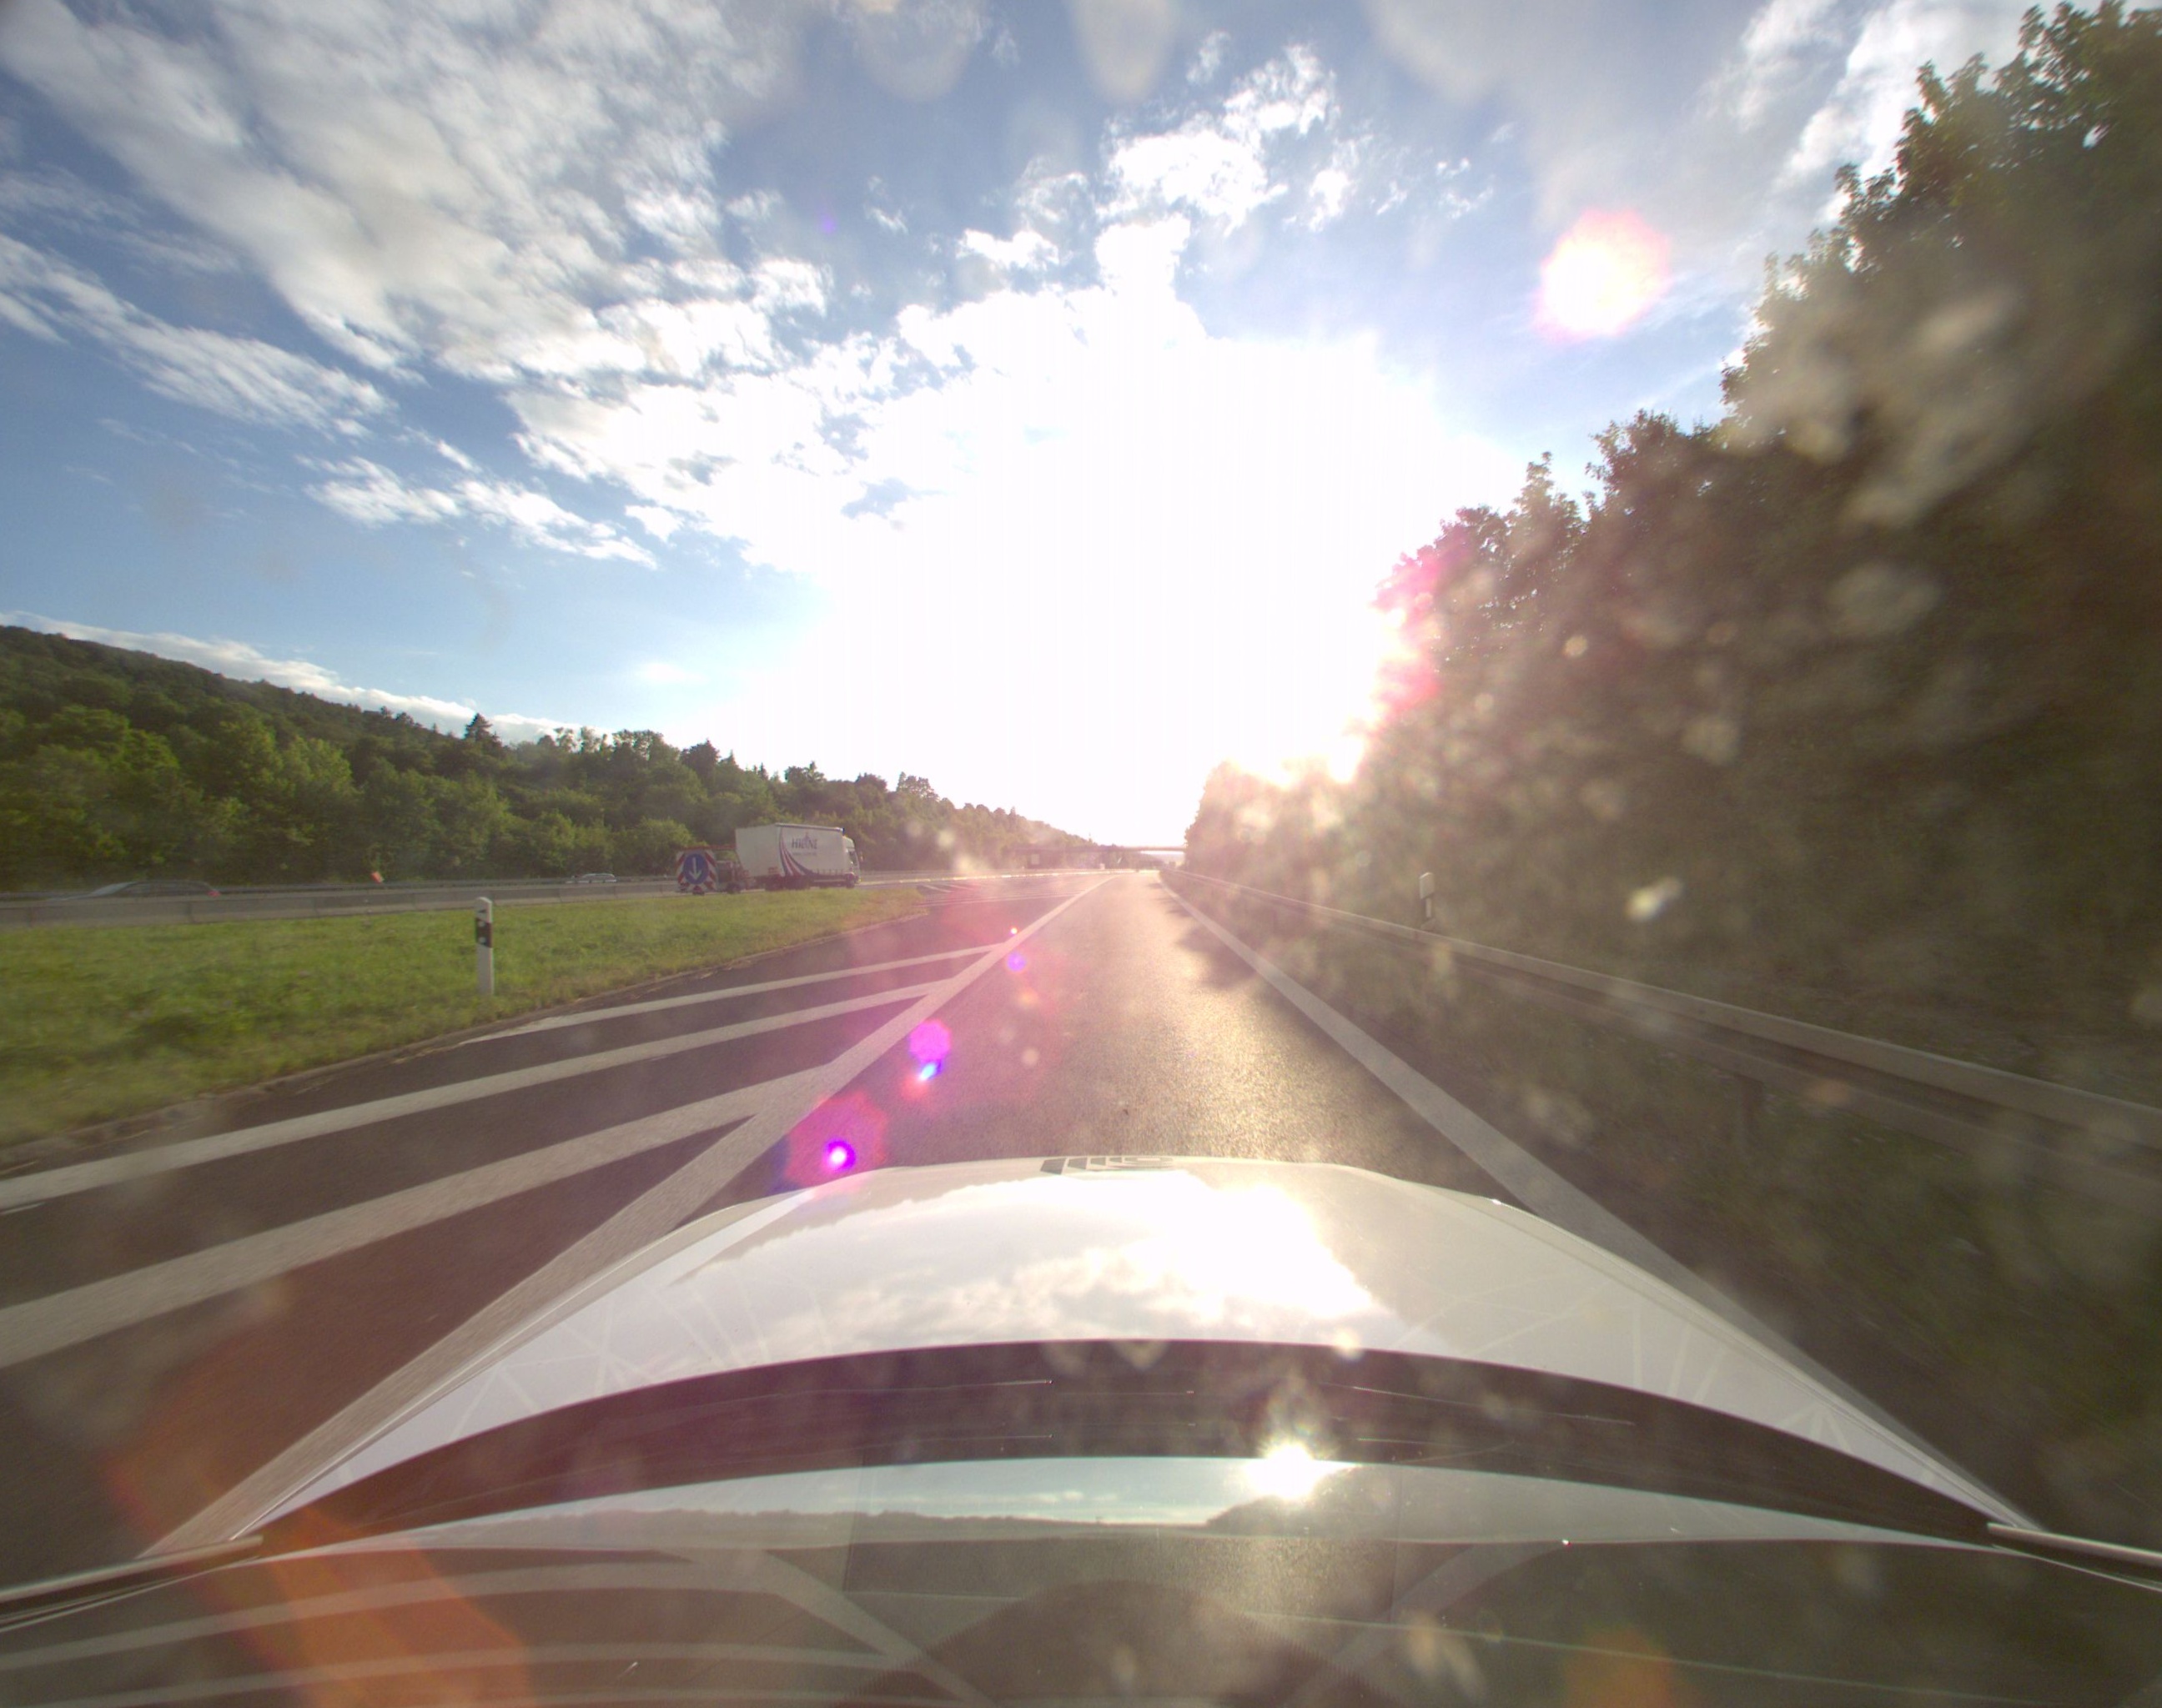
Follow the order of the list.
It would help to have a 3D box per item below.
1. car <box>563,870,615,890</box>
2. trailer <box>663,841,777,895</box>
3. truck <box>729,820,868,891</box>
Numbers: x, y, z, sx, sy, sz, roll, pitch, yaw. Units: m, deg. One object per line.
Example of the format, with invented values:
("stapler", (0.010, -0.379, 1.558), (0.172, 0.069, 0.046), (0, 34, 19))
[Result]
("car", (-42.832, 2.225, 70.951), (1.610, 1.579, 4.011), (-1, -1, 10))
("trailer", (-18.134, 0.685, 41.243), (2.900, 2.578, 4.833), (-1, -1, 14))
("truck", (-16.384, 0.125, 48.306), (2.900, 3.789, 9.701), (-1, -1, 14))
